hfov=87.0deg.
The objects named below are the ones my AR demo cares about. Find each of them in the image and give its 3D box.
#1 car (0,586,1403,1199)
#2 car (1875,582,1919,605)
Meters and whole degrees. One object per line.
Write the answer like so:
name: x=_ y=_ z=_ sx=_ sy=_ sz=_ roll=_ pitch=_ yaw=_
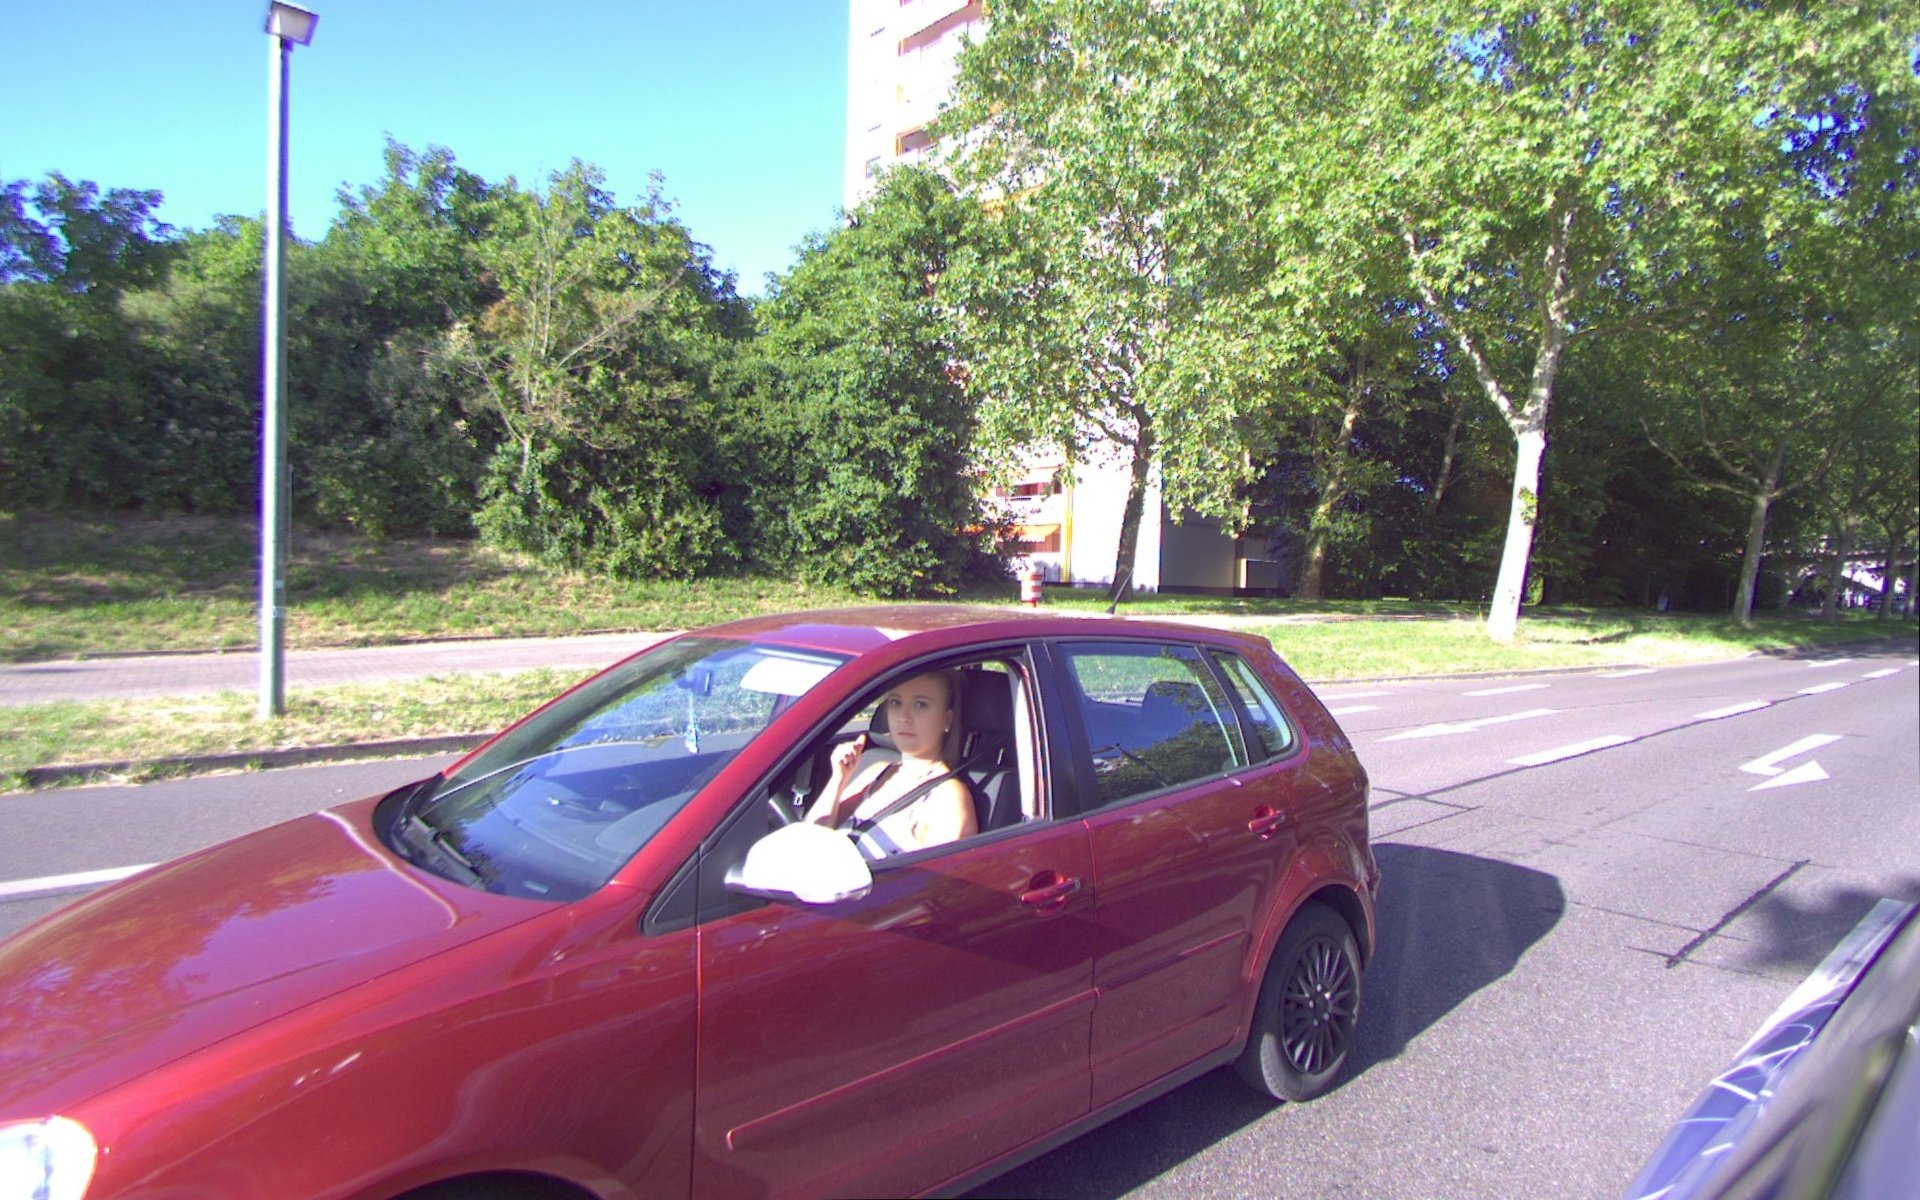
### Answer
car: x=-0.448 y=0.708 z=2.724 sx=3.624 sy=1.479 sz=1.579 roll=-1 pitch=0 yaw=-40
car: x=81.651 y=-0.581 z=86.809 sx=4.702 sy=1.959 sz=1.879 roll=1 pitch=1 yaw=42
